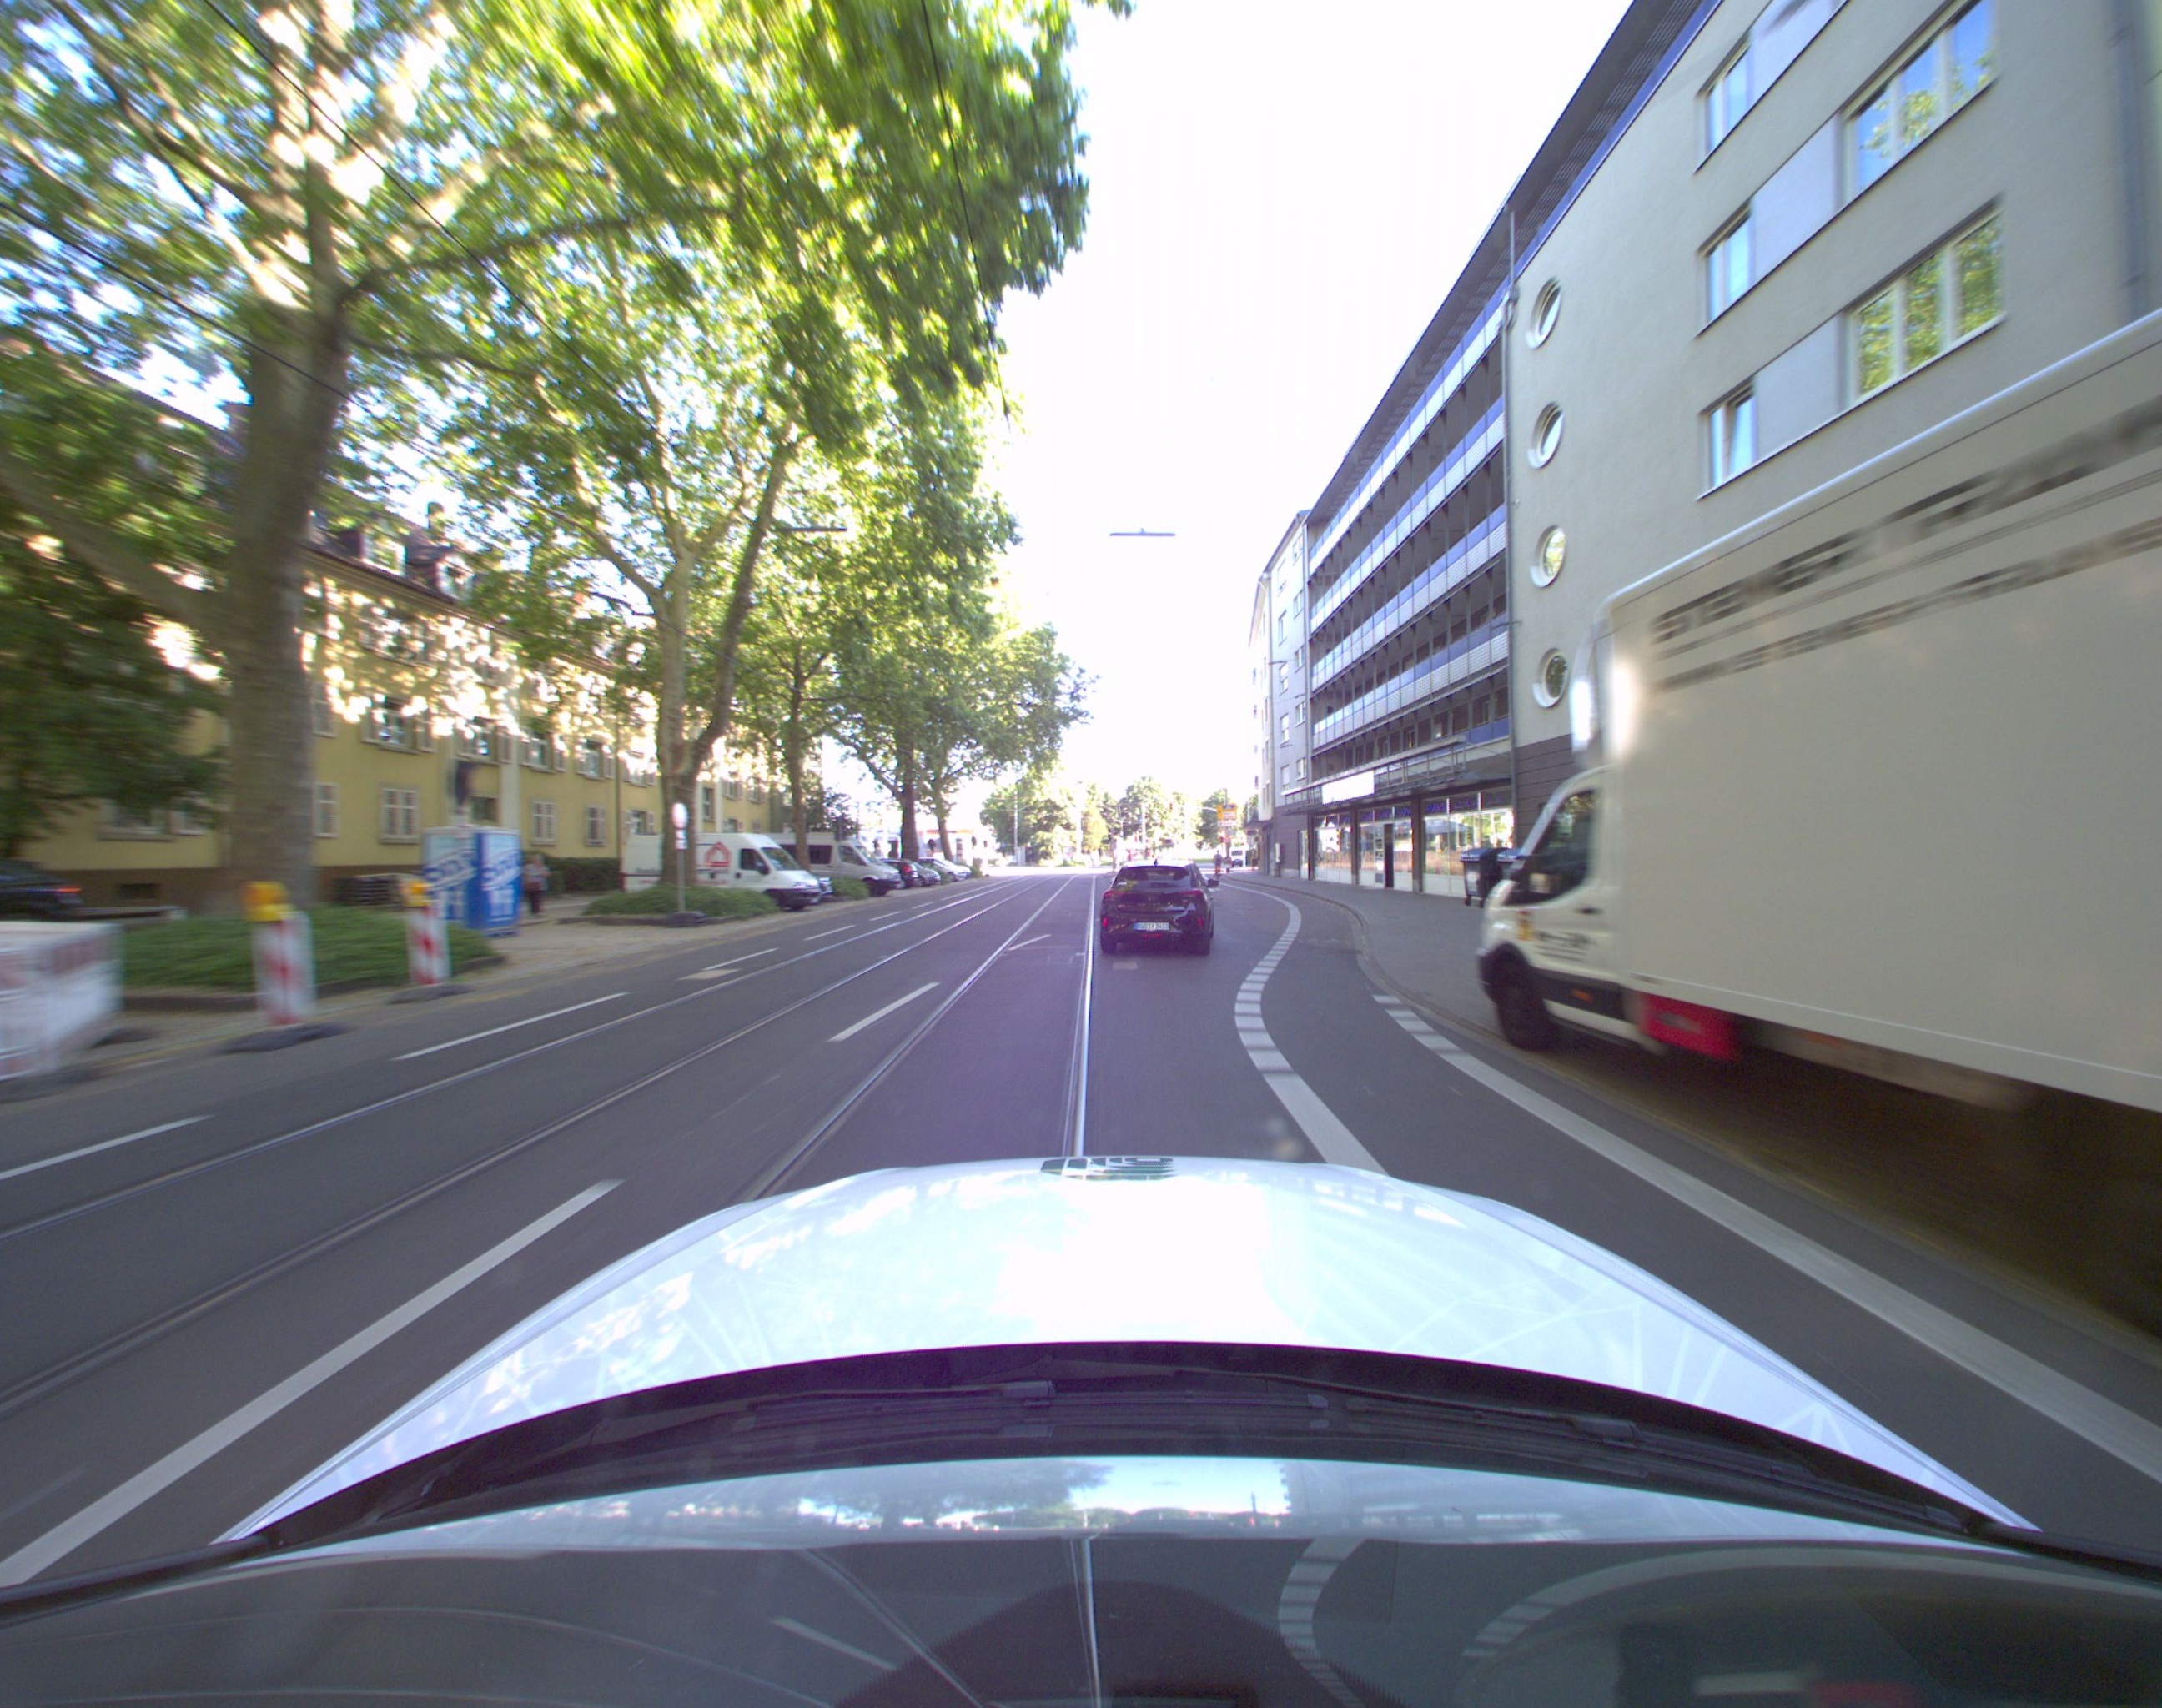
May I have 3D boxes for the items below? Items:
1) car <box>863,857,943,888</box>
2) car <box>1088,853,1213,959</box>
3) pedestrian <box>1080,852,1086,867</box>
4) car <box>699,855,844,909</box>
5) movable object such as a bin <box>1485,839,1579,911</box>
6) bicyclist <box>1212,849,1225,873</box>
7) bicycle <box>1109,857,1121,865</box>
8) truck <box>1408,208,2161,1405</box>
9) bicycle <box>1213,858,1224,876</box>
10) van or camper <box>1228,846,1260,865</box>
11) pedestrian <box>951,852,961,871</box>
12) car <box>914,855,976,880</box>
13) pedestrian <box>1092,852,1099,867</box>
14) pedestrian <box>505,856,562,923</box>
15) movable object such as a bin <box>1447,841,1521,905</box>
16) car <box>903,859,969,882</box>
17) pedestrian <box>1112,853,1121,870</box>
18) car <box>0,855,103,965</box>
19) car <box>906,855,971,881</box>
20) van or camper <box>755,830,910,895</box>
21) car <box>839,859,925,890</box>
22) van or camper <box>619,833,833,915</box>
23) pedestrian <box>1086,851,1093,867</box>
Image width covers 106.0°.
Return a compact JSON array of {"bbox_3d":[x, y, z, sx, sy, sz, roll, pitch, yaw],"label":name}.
[{"bbox_3d":[-9.656,0.994,44.407,3.971,1.651,1.650,0,0,2],"label":"car"},{"bbox_3d":[1.316,0.743,13.730,1.771,1.496,4.011,0,0,9],"label":"car"},{"bbox_3d":[0.265,0.684,104.080,0.610,1.853,0.587,0,-1,28],"label":"pedestrian"},{"bbox_3d":[-10.413,0.920,27.649,4.157,1.671,1.963,-1,0,-2],"label":"car"},{"bbox_3d":[10.019,0.454,18.181,1.182,1.484,1.595,-3,0,1],"label":"movable object such as a bin"},{"bbox_3d":[8.378,0.426,49.677,0.701,1.435,0.705,-1,0,13],"label":"bicyclist"},{"bbox_3d":[3.944,0.786,93.913,0.782,0.992,2.253,0,0,18],"label":"bicycle"},{"bbox_3d":[4.338,-0.154,4.078,2.529,3.338,7.198,-4,0,2],"label":"truck"},{"bbox_3d":[8.365,0.798,49.592,0.504,1.067,1.570,-1,0,13],"label":"bicycle"},{"bbox_3d":[18.475,0.186,92.405,2.147,2.146,4.534,0,0,31],"label":"van or camper"},{"bbox_3d":[-14.676,0.843,95.551,0.824,2.220,0.890,0,-1,-33],"label":"pedestrian"},{"bbox_3d":[-9.837,0.976,58.971,4.157,1.671,1.963,-1,0,-2],"label":"car"},{"bbox_3d":[1.850,0.683,104.171,0.610,1.853,0.587,0,-1,26],"label":"pedestrian"},{"bbox_3d":[-13.677,0.866,20.365,0.756,1.612,0.891,0,0,9],"label":"pedestrian"},{"bbox_3d":[9.945,0.461,20.152,1.106,1.484,1.388,-3,0,1],"label":"movable object such as a bin"},{"bbox_3d":[-9.492,1.074,53.408,3.971,1.515,1.650,0,0,2],"label":"car"},{"bbox_3d":[2.870,0.611,66.214,0.649,1.363,0.646,-1,0,7],"label":"pedestrian"},{"bbox_3d":[-16.547,0.811,10.662,1.781,1.571,4.528,0,0,6],"label":"car"},{"bbox_3d":[-9.852,0.961,56.570,4.157,1.671,1.963,-1,0,-2],"label":"car"},{"bbox_3d":[-10.280,0.349,34.033,5.703,2.644,2.270,0,0,1],"label":"van or camper"},{"bbox_3d":[-10.176,1.039,41.795,3.971,1.515,1.650,0,0,2],"label":"car"},{"bbox_3d":[-10.670,0.579,24.744,5.476,2.379,2.272,0,0,4],"label":"van or camper"},{"bbox_3d":[1.128,0.637,104.545,0.651,1.932,0.613,0,-1,33],"label":"pedestrian"}]
